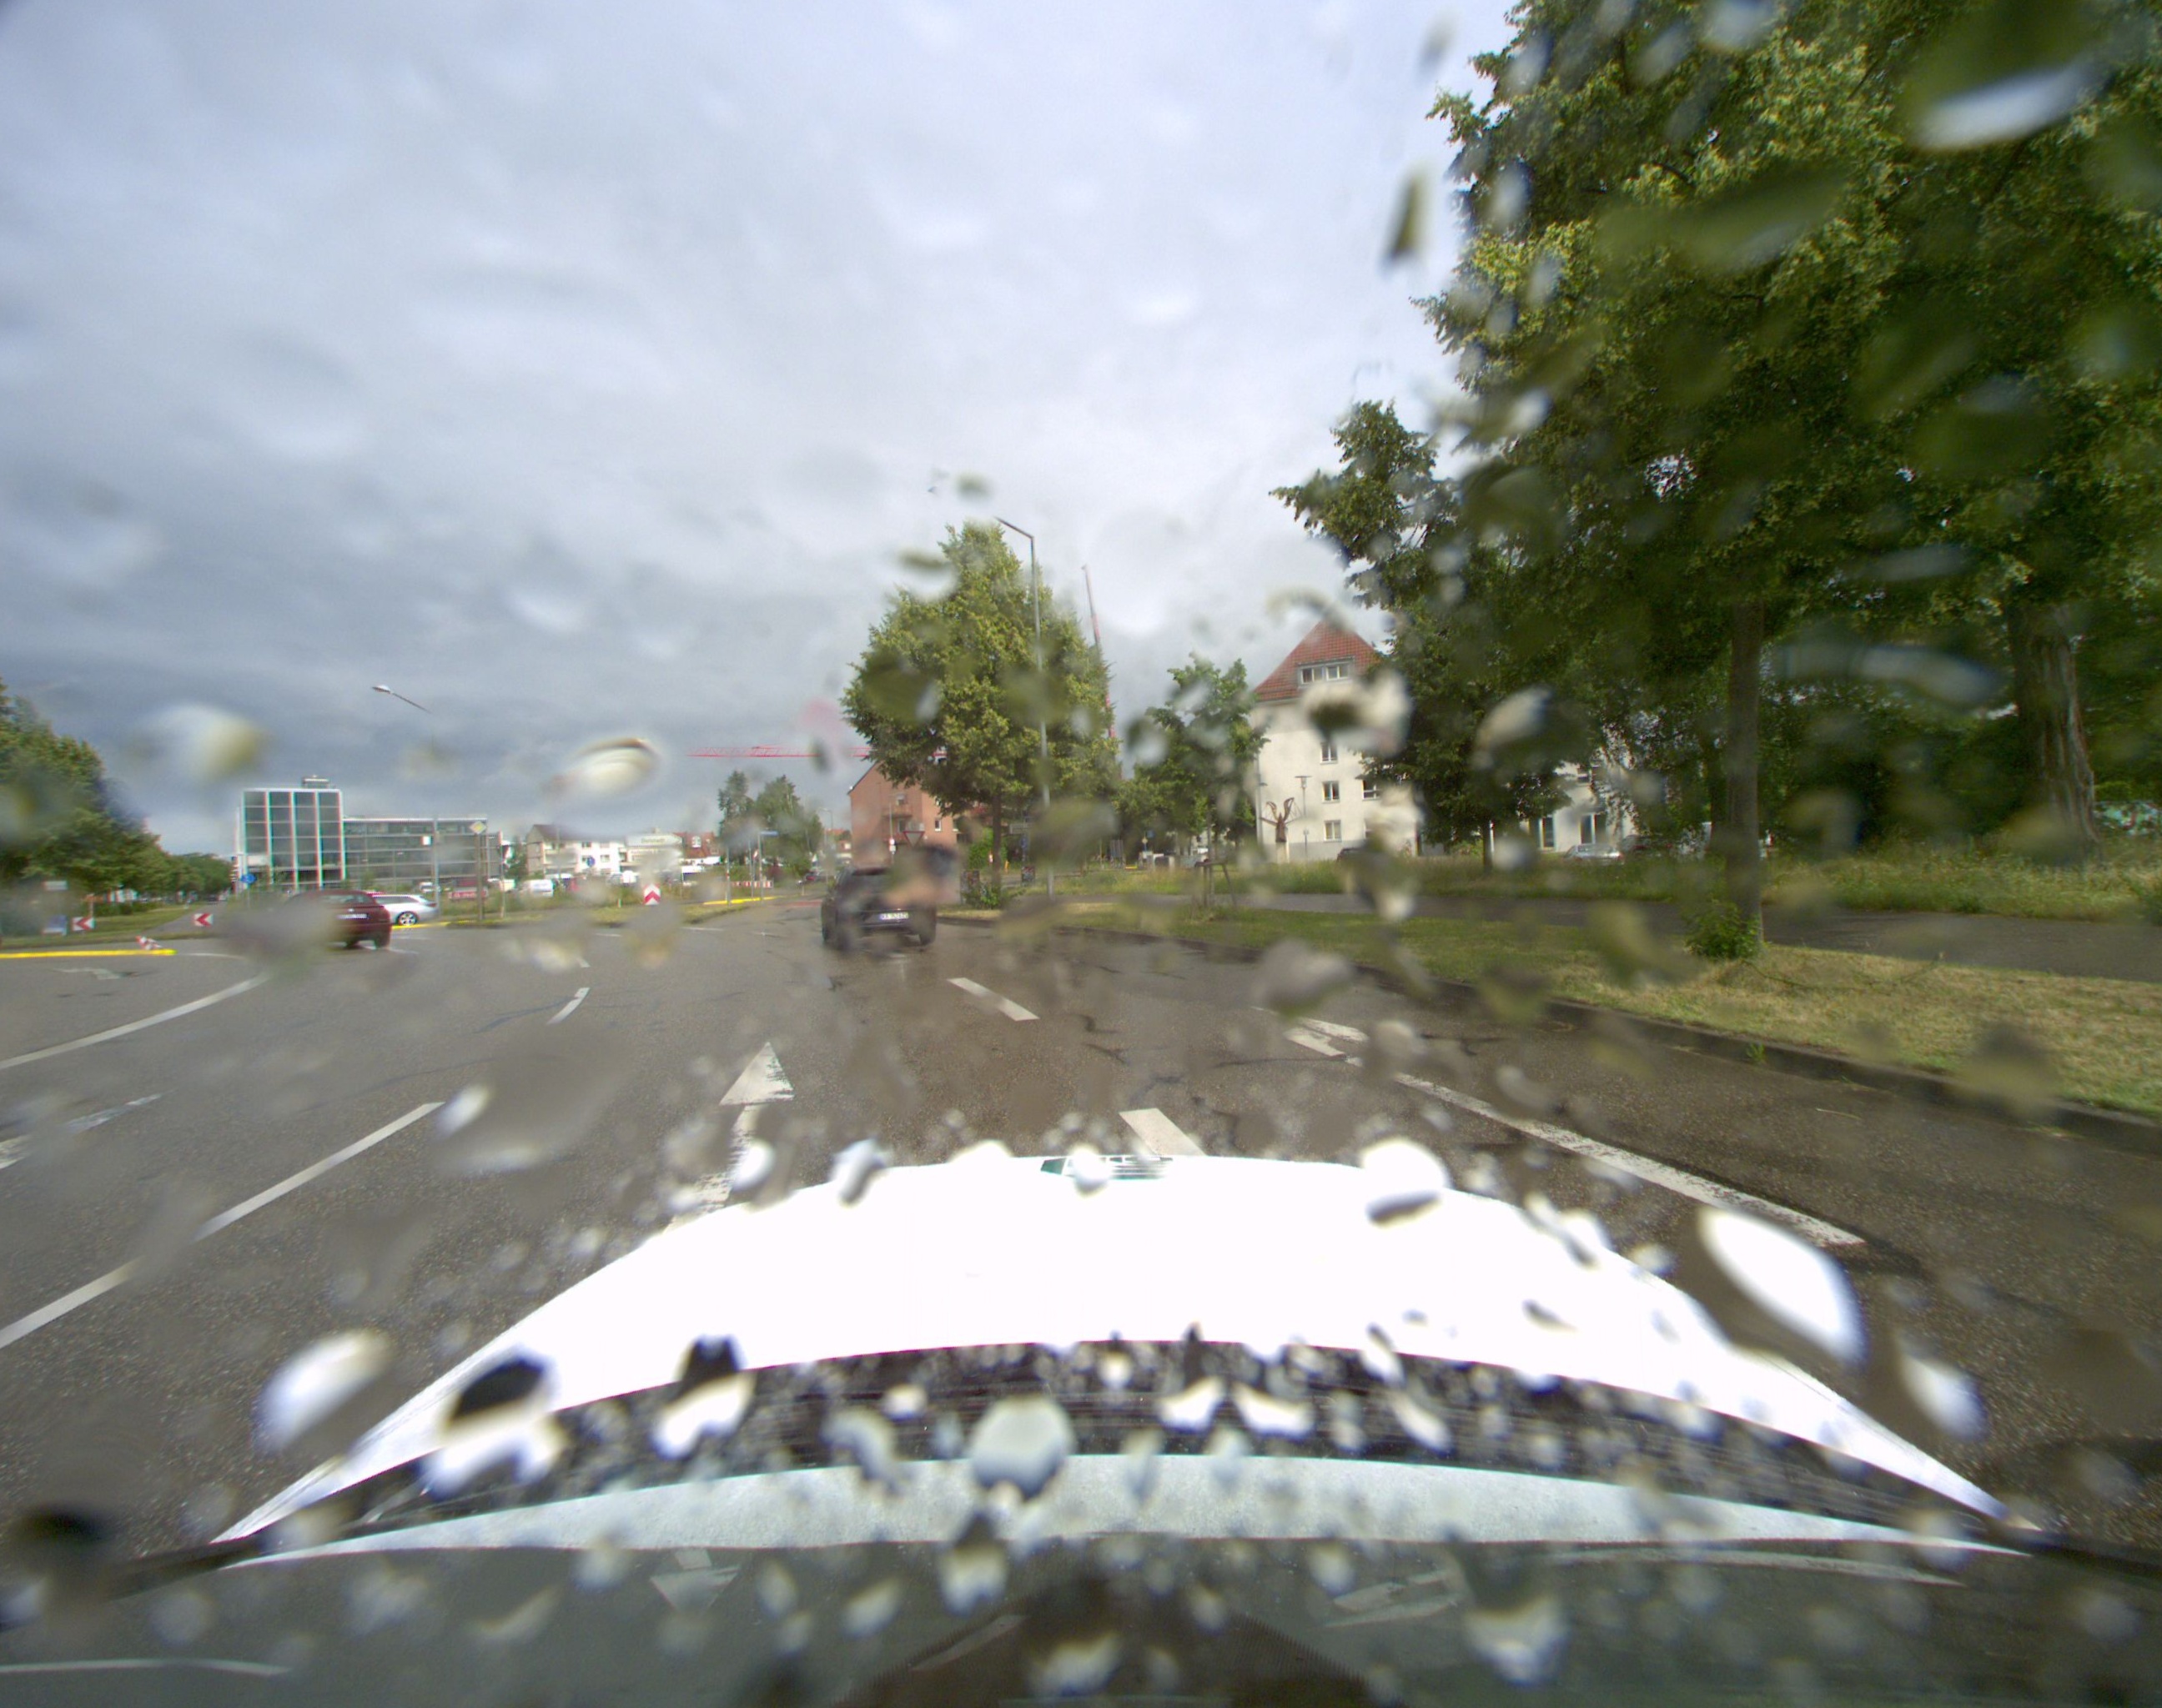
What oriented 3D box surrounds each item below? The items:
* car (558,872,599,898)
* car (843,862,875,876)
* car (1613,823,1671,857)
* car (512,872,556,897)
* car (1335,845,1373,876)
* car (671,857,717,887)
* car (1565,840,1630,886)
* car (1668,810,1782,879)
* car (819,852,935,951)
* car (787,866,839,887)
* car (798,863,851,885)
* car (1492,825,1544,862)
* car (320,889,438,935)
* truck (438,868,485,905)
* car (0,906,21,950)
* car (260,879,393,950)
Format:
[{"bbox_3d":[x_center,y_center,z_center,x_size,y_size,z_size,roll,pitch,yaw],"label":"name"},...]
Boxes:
[{"bbox_3d":[-37.668,2.314,61.005,1.941,1.700,3.952,-2,2,-42],"label":"car"},{"bbox_3d":[-27.357,1.819,100.408,3.511,1.519,1.611,-3,0,-11],"label":"car"},{"bbox_3d":[26.538,-0.680,38.618,1.643,1.345,3.603,-3,3,26],"label":"car"},{"bbox_3d":[-41.301,2.284,61.464,3.950,1.700,1.869,0,2,44],"label":"car"},{"bbox_3d":[14.682,0.302,43.679,1.656,1.482,3.759,-3,0,21],"label":"car"},{"bbox_3d":[-30.439,1.359,63.970,2.052,2.085,6.196,-2,2,-37],"label":"car"},{"bbox_3d":[18.560,0.283,29.376,1.588,1.510,3.643,-3,0,27],"label":"car"},{"bbox_3d":[21.976,-0.381,28.022,2.086,2.057,5.193,-4,0,28],"label":"car"},{"bbox_3d":[-4.178,0.853,16.282,1.903,1.617,3.976,-3,0,-18],"label":"car"},{"bbox_3d":[-23.867,2.018,72.575,4.075,1.632,1.600,-3,0,-34],"label":"car"},{"bbox_3d":[-22.163,1.731,70.362,4.075,1.632,1.600,-3,0,-34],"label":"car"},{"bbox_3d":[21.634,-0.548,40.457,1.829,1.552,4.130,-3,2,23],"label":"car"},{"bbox_3d":[-29.092,2.360,33.810,1.580,1.560,3.571,-2,1,44],"label":"car"},{"bbox_3d":[-42.916,2.197,56.473,2.409,2.211,6.033,-2,2,-37],"label":"truck"},{"bbox_3d":[-40.880,2.773,29.206,3.479,1.560,1.549,-3,0,-2],"label":"car"},{"bbox_3d":[-18.695,1.468,20.135,3.948,1.462,1.731,-3,0,38],"label":"car"}]
